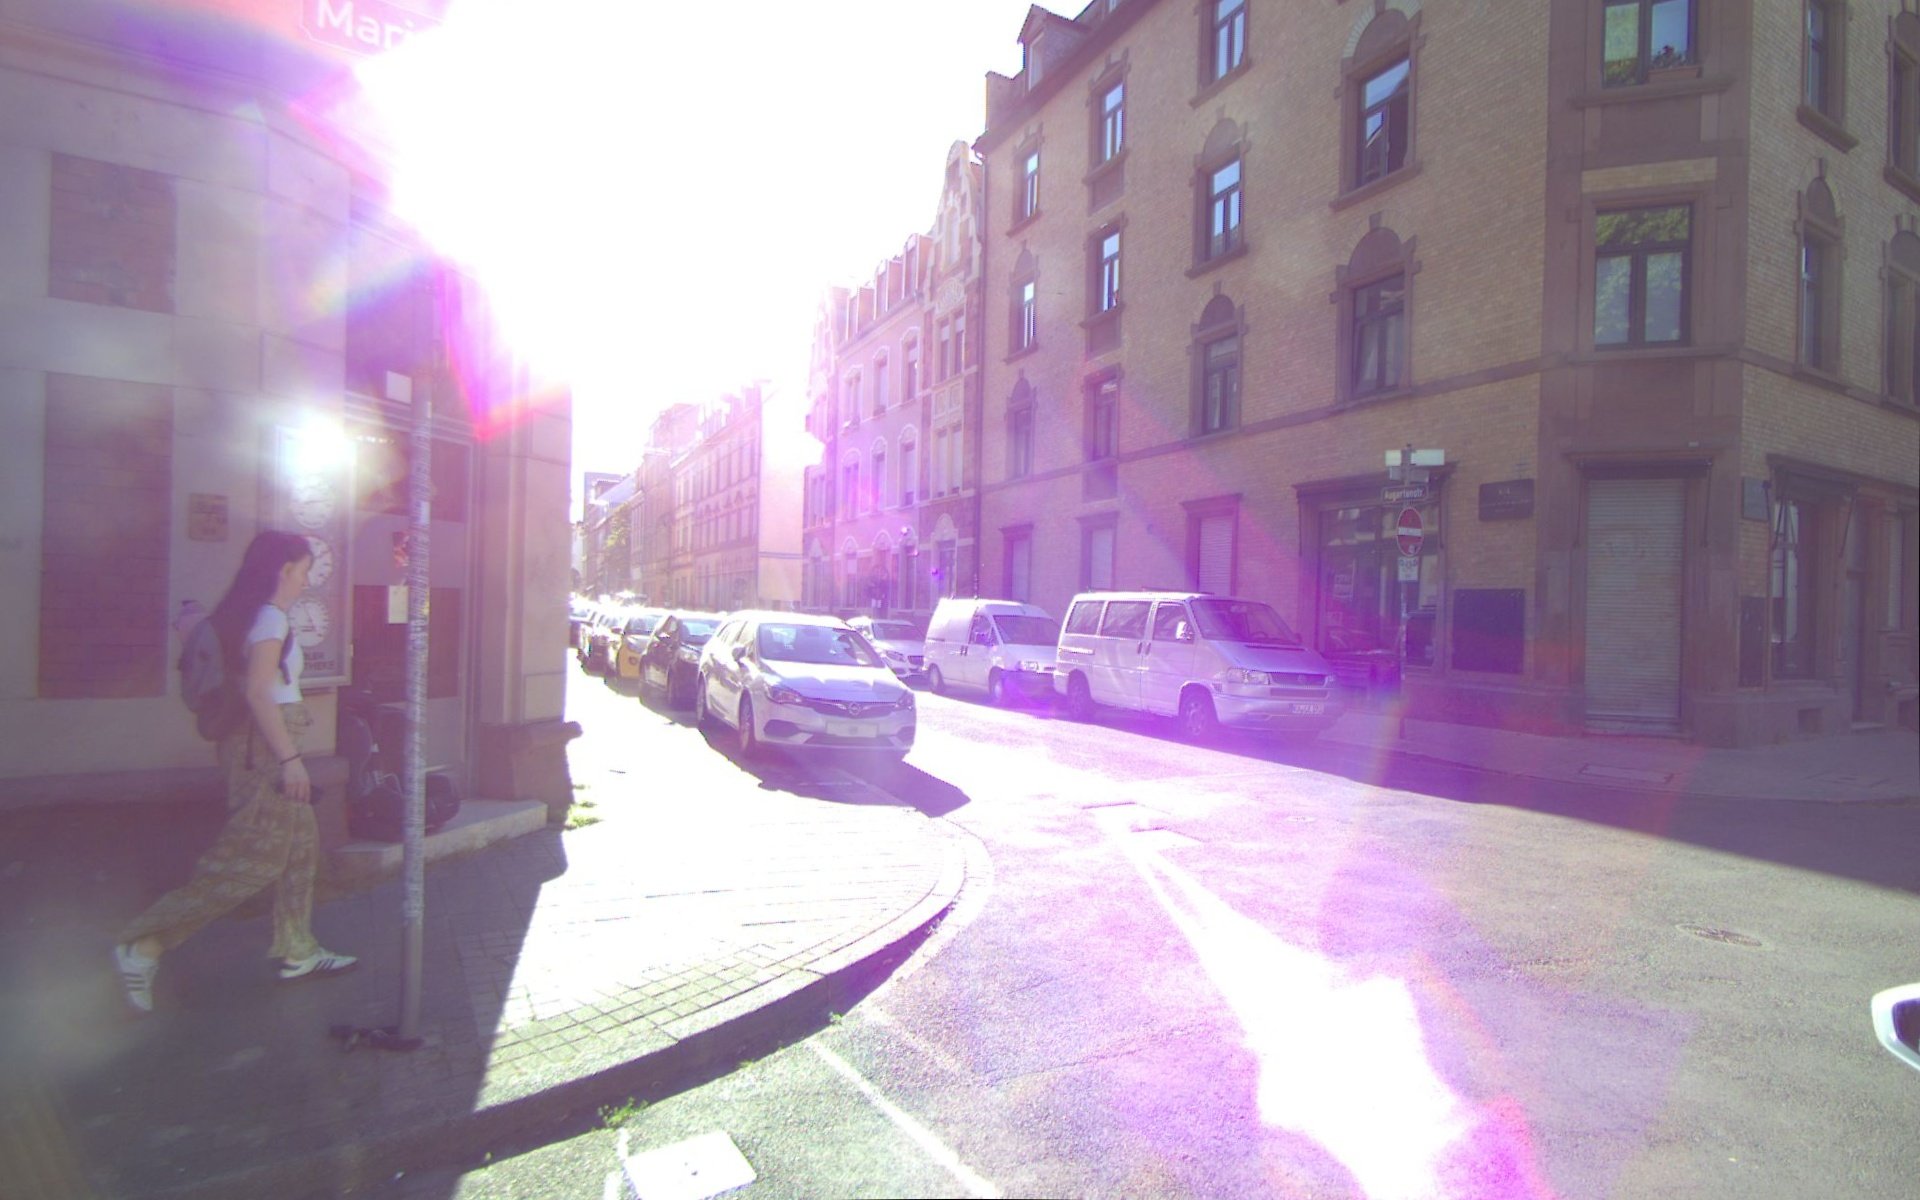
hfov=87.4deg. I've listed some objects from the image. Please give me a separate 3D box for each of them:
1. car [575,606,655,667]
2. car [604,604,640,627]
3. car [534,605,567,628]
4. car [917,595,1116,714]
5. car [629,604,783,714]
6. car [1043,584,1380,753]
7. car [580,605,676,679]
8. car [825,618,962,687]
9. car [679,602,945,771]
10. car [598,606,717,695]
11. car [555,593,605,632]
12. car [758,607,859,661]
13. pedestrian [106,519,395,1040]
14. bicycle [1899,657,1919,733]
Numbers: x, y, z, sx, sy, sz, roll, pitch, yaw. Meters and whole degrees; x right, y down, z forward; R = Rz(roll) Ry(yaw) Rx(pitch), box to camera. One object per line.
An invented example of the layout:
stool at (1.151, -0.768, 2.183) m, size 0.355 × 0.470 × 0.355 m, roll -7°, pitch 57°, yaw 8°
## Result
car at (-9.891, 0.997, 28.684) m, size 1.748 × 1.550 × 3.514 m, roll 4°, pitch -2°, yaw -24°
car at (-23.330, 1.061, 69.209) m, size 1.756 × 1.504 × 4.333 m, roll 2°, pitch -1°, yaw -27°
car at (-28.781, 1.144, 70.580) m, size 1.756 × 1.504 × 4.333 m, roll 2°, pitch -1°, yaw -27°
car at (0.912, 0.966, 18.981) m, size 1.913 × 1.919 × 4.338 m, roll 4°, pitch -2°, yaw -23°
car at (-4.275, 0.897, 16.500) m, size 1.748 × 1.550 × 3.670 m, roll 4°, pitch -2°, yaw -24°
car at (3.212, 0.849, 13.958) m, size 1.999 × 1.919 × 4.698 m, roll 4°, pitch -2°, yaw -25°
car at (-8.032, 0.966, 24.124) m, size 1.748 × 1.550 × 3.514 m, roll 4°, pitch -2°, yaw -24°
car at (-1.708, 1.217, 24.382) m, size 1.756 × 1.461 × 4.333 m, roll 2°, pitch -1°, yaw -27°
car at (-1.928, 0.874, 11.643) m, size 1.842 × 1.550 × 4.415 m, roll 4°, pitch -2°, yaw -24°
car at (-6.130, 0.949, 20.097) m, size 1.748 × 1.550 × 3.514 m, roll 4°, pitch -2°, yaw -24°
car at (-16.551, 0.536, 43.643) m, size 1.748 × 1.550 × 3.514 m, roll 4°, pitch -2°, yaw -24°
car at (-4.667, 0.998, 30.427) m, size 1.756 × 1.504 × 4.333 m, roll 2°, pitch -1°, yaw -27°
pedestrian at (-2.513, 0.592, 3.639) m, size 0.709 × 1.666 × 0.545 m, roll 4°, pitch -1°, yaw -31°
bicycle at (14.948, 1.440, 15.179) m, size 1.869 × 1.088 × 0.530 m, roll 2°, pitch 3°, yaw -31°
